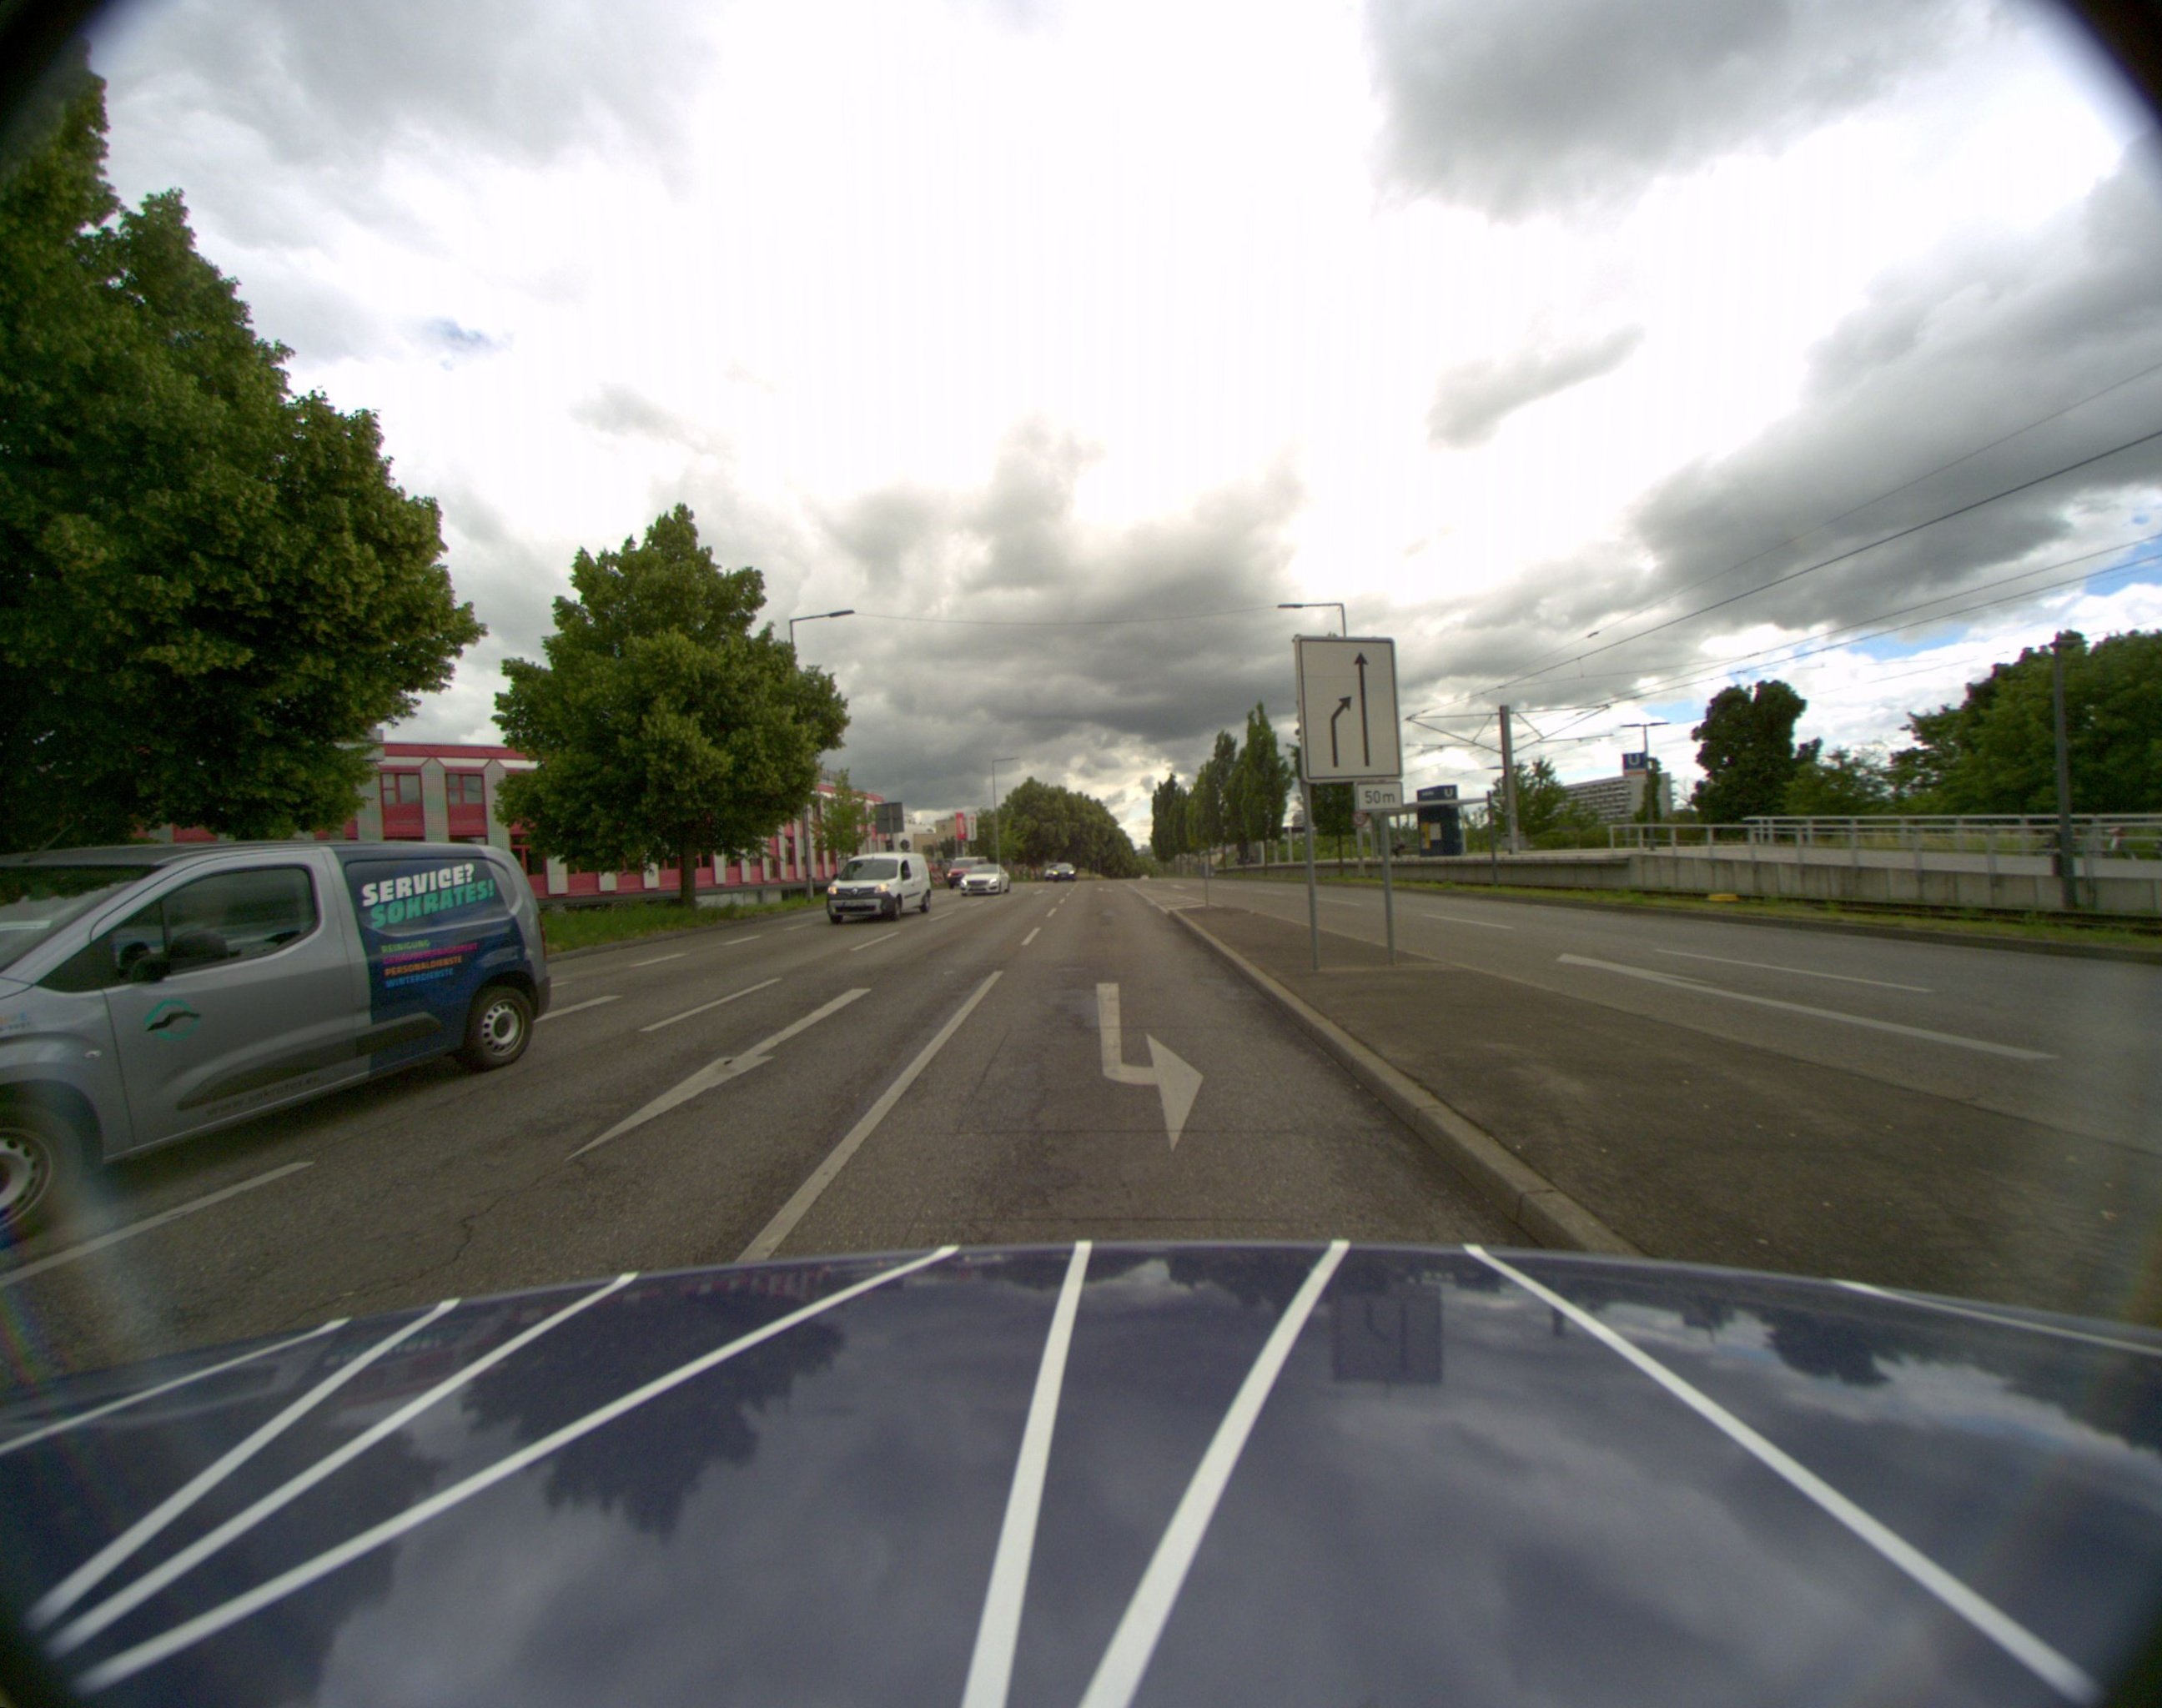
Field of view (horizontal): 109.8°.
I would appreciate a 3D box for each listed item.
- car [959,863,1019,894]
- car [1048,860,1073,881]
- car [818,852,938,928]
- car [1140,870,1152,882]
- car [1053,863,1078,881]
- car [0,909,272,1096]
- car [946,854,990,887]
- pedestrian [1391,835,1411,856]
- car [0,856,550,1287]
[{"bbox_3d":[-4.279,1.177,35.979,1.812,1.332,4.226,-2,-3,7],"label":"car"},{"bbox_3d":[-2.048,1.694,79.315,1.949,1.895,5.239,-2,1,5],"label":"car"},{"bbox_3d":[-5.424,0.910,20.950,1.813,1.781,4.698,-2,-1,2],"label":"car"},{"bbox_3d":[12.186,4.135,143.312,1.998,2.002,4.000,-2,0,3],"label":"car"},{"bbox_3d":[-1.245,1.545,64.565,1.813,1.332,4.225,-2,-3,2],"label":"car"},{"bbox_3d":[-10.115,1.408,6.197,1.833,1.412,4.515,-4,1,7],"label":"car"},{"bbox_3d":[-7.220,1.104,49.010,2.183,1.893,4.456,-2,-3,0],"label":"car"},{"bbox_3d":[18.291,-0.506,43.472,0.751,1.169,0.837,-2,1,0],"label":"pedestrian"},{"bbox_3d":[-5.435,0.949,4.263,1.813,1.770,4.222,-2,1,1],"label":"car"}]
